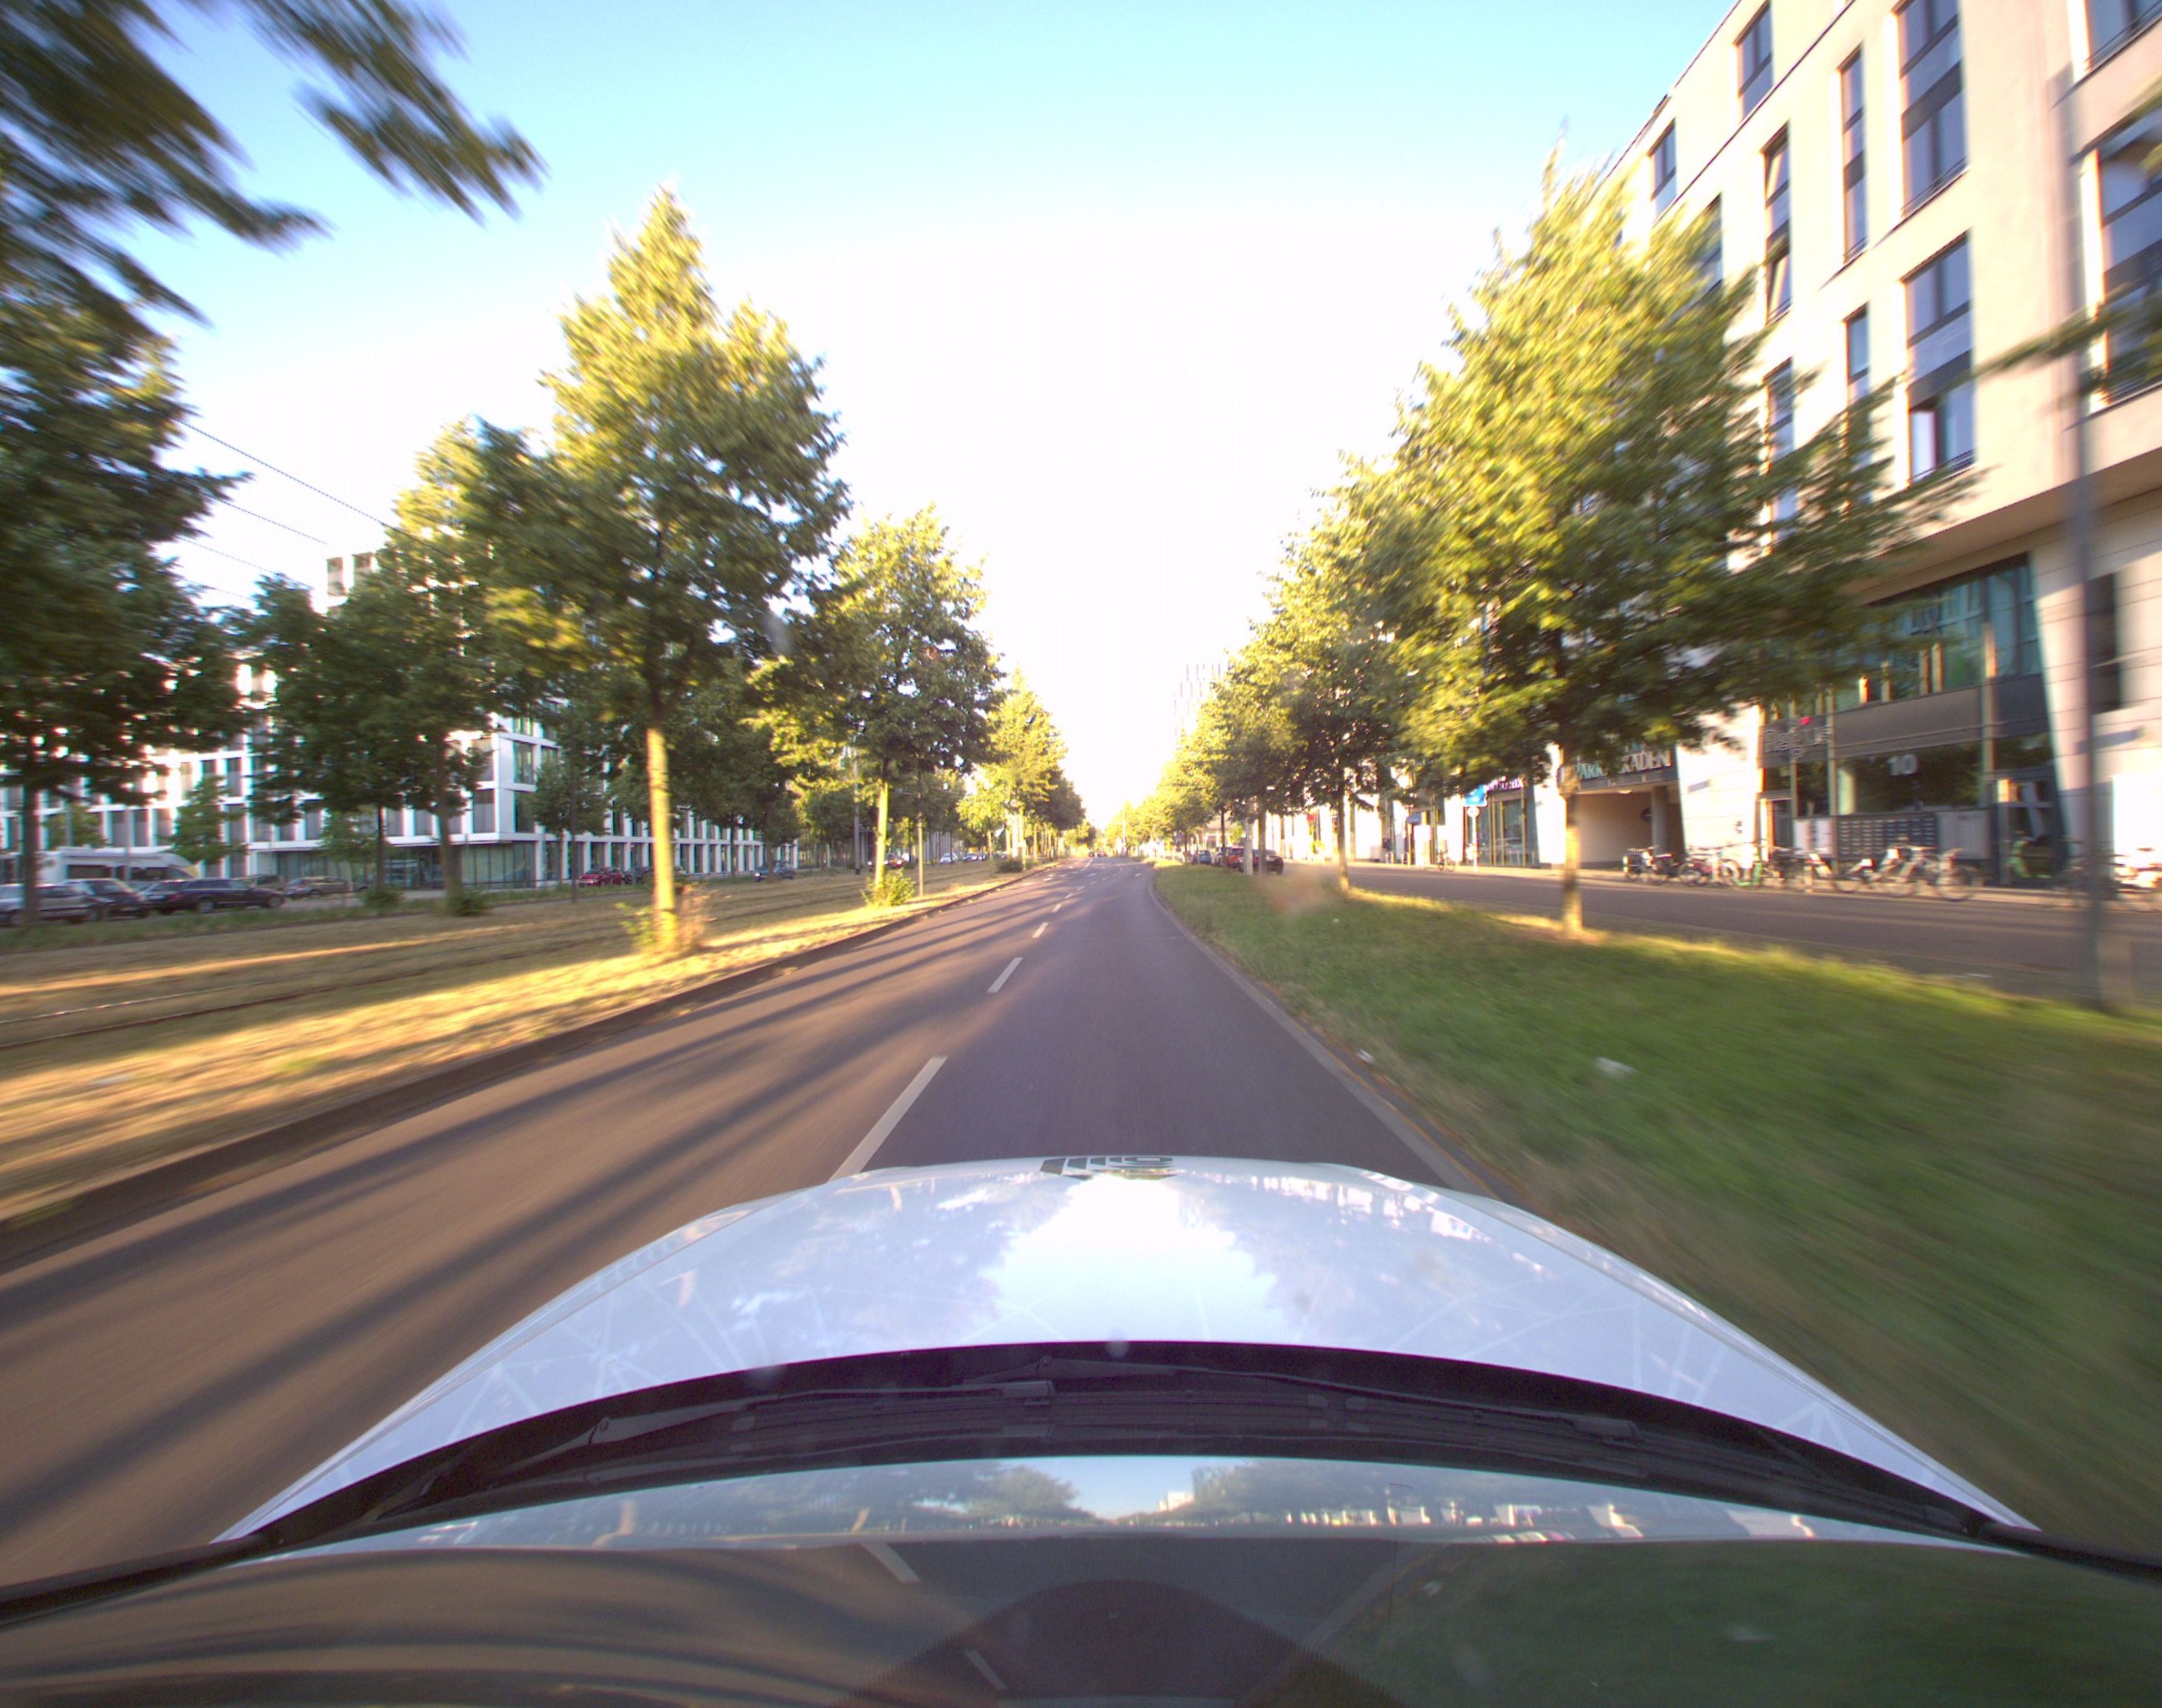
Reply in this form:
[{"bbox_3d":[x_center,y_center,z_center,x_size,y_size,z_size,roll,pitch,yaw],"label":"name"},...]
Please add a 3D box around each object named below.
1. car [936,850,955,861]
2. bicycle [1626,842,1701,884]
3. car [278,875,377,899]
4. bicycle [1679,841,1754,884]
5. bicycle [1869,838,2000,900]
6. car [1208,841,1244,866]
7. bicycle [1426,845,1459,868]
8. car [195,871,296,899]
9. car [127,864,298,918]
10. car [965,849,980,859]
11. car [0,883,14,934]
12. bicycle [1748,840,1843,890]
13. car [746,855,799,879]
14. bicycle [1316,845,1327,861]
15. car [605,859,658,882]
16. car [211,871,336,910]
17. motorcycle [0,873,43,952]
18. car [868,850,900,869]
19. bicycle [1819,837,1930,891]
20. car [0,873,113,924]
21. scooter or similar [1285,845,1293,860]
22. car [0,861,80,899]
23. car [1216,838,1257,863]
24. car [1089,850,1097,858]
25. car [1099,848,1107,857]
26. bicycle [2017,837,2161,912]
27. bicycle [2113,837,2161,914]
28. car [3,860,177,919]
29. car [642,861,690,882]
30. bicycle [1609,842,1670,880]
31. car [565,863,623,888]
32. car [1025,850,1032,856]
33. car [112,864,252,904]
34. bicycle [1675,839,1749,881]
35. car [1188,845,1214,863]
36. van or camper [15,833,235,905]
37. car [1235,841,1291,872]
[{"bbox_3d":[-17.346,0.189,104.723,1.652,1.332,4.529,-2,0,0],"label":"car"},{"bbox_3d":[15.734,0.242,22.056,0.533,1.061,1.776,-3,1,-8],"label":"bicycle"},{"bbox_3d":[-47.406,2.073,51.366,1.727,1.260,4.268,-1,0,14],"label":"car"},{"bbox_3d":[16.392,0.196,21.059,0.531,1.061,1.858,-1,0,2],"label":"bicycle"},{"bbox_3d":[16.077,0.255,15.407,0.531,1.061,1.858,-3,1,2],"label":"bicycle"},{"bbox_3d":[10.610,-0.041,59.810,1.943,1.714,5.162,0,0,3],"label":"car"},{"bbox_3d":[16.774,0.106,37.844,0.650,1.039,2.056,-1,0,2],"label":"bicycle"},{"bbox_3d":[-54.708,2.007,53.439,1.751,1.589,4.293,-1,0,13],"label":"car"},{"bbox_3d":[-37.188,1.497,35.125,1.987,2.013,4.932,-2,0,1],"label":"car"},{"bbox_3d":[-16.628,-0.012,125.443,1.652,1.332,4.741,-2,0,0],"label":"car"},{"bbox_3d":[-37.148,1.824,25.796,3.977,1.640,1.921,-1,0,-3],"label":"car"},{"bbox_3d":[16.232,0.222,18.564,0.531,1.061,1.858,-3,1,2],"label":"bicycle"},{"bbox_3d":[-21.246,0.841,56.207,1.911,1.508,4.288,-1,0,1],"label":"car"},{"bbox_3d":[17.172,-0.079,58.152,0.567,1.124,1.840,-3,1,13],"label":"bicycle"},{"bbox_3d":[-34.327,1.221,62.328,1.853,1.581,3.667,-1,0,2],"label":"car"},{"bbox_3d":[-39.219,1.749,39.693,1.907,1.640,4.006,-1,0,5],"label":"car"},{"bbox_3d":[-19.113,1.038,13.524,0.679,1.336,2.345,-2,0,1],"label":"motorcycle"},{"bbox_3d":[-17.869,0.456,74.106,1.879,1.578,4.181,-2,0,0],"label":"car"},{"bbox_3d":[16.725,0.192,17.220,0.531,1.061,1.858,-3,1,2],"label":"bicycle"},{"bbox_3d":[-36.931,1.549,28.344,3.977,1.640,1.921,-1,0,-3],"label":"car"},{"bbox_3d":[17.556,-0.137,68.684,0.354,1.187,1.311,-3,0,3],"label":"scooter or similar"},{"bbox_3d":[-53.801,1.327,40.922,1.907,1.811,4.005,-1,0,5],"label":"car"},{"bbox_3d":[9.876,-0.240,51.948,1.848,1.529,4.484,0,0,1],"label":"car"},{"bbox_3d":[3.141,0.048,219.673,2.080,2.013,4.000,-1,1,0],"label":"car"},{"bbox_3d":[5.453,-0.366,204.575,1.987,2.013,4.000,-1,1,0],"label":"car"},{"bbox_3d":[15.933,0.279,12.698,0.531,1.061,1.858,-3,1,2],"label":"bicycle"},{"bbox_3d":[15.500,0.302,11.019,0.533,1.061,1.850,-3,1,-11],"label":"bicycle"},{"bbox_3d":[-37.502,1.301,30.919,3.977,2.013,1.998,-2,0,-2],"label":"car"},{"bbox_3d":[-34.314,1.434,67.441,1.853,1.581,3.786,-1,0,2],"label":"car"},{"bbox_3d":[16.491,0.185,24.104,0.531,1.061,1.858,-3,1,2],"label":"bicycle"},{"bbox_3d":[-34.337,1.490,57.518,1.853,1.581,3.494,-1,0,2],"label":"car"},{"bbox_3d":[-15.235,-0.246,235.181,1.722,1.589,3.515,-2,0,1],"label":"car"},{"bbox_3d":[-42.034,1.346,38.233,1.907,1.640,4.006,-1,0,5],"label":"car"},{"bbox_3d":[17.004,0.151,21.998,0.531,1.061,1.858,-3,0,2],"label":"bicycle"},{"bbox_3d":[10.381,0.015,70.951,1.718,1.529,4.269,0,0,1],"label":"car"},{"bbox_3d":[-44.948,0.616,38.627,2.697,3.085,6.271,-1,0,5],"label":"van or camper"},{"bbox_3d":[9.914,0.112,44.796,1.938,1.549,4.810,-1,0,-1],"label":"car"}]
